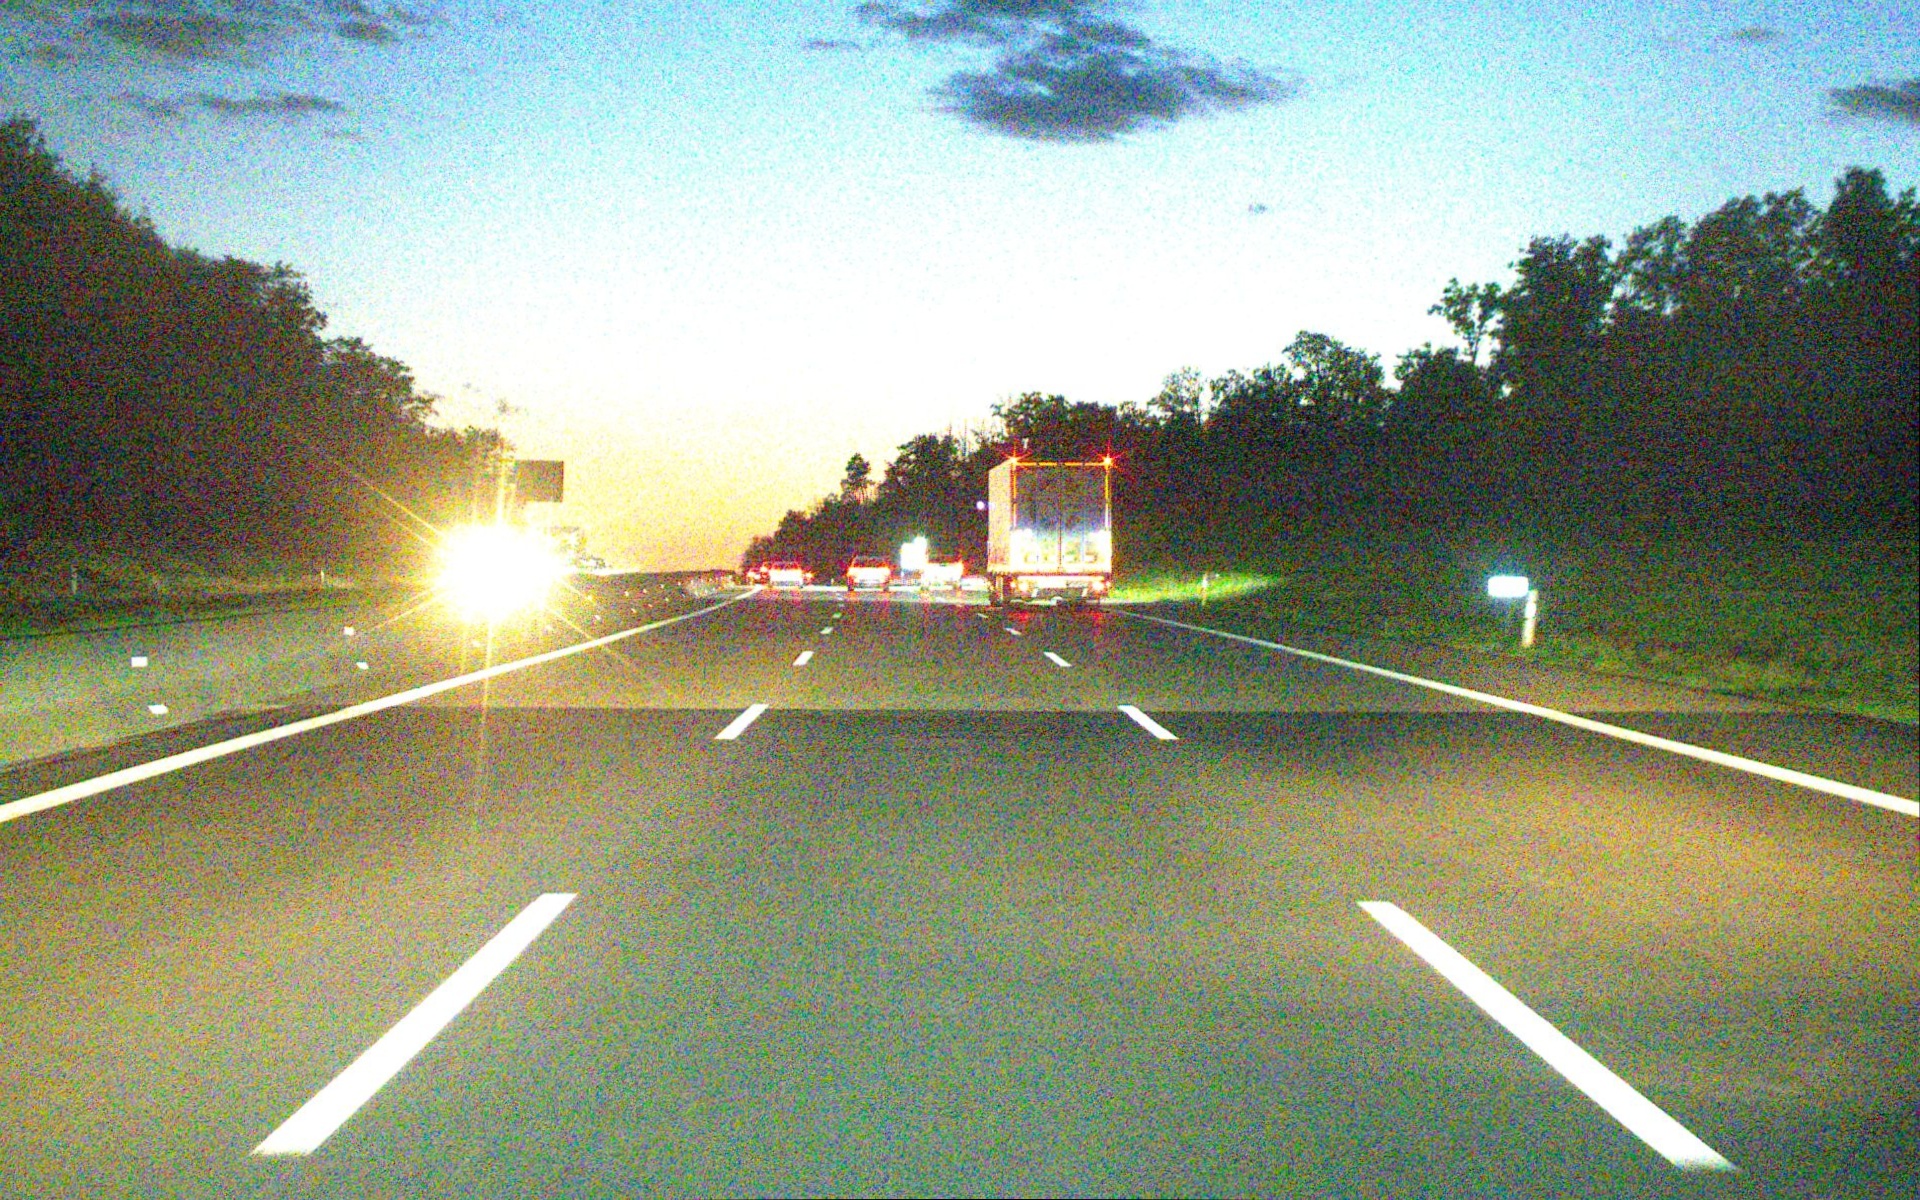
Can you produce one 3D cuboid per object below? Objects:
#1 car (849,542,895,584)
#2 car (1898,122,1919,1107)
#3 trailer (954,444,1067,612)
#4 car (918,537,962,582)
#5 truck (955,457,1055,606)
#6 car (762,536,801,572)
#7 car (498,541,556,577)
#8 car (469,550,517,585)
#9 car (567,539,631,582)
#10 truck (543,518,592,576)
[{"bbox_3d":[-3.892,-1.613,151.396,1.993,1.788,4.000,1,-1,-2],"label":"car"},{"bbox_3d":[3.552,0.084,6.504,2.032,2.638,5.725,0,1,1],"label":"car"},{"bbox_3d":[1.295,-1.925,96.067,2.829,4.242,17.049,0,1,0],"label":"trailer"},{"bbox_3d":[-1.001,-1.958,166.723,1.993,2.110,4.000,1,-1,-2],"label":"car"},{"bbox_3d":[1.300,-1.983,101.442,2.829,4.242,6.263,0,1,0],"label":"truck"},{"bbox_3d":[-9.286,-2.369,178.567,1.993,1.788,4.000,1,-1,-3],"label":"car"},{"bbox_3d":[-19.767,-1.876,157.247,2.244,1.592,4.888,0,1,-3],"label":"car"},{"bbox_3d":[-23.899,-1.692,176.152,1.913,1.741,4.882,0,1,-2],"label":"car"},{"bbox_3d":[-14.845,-1.628,141.618,2.244,1.713,4.888,0,1,-1],"label":"car"},{"bbox_3d":[-28.342,-3.828,248.532,2.859,4.057,10.636,1,1,-3],"label":"truck"}]
